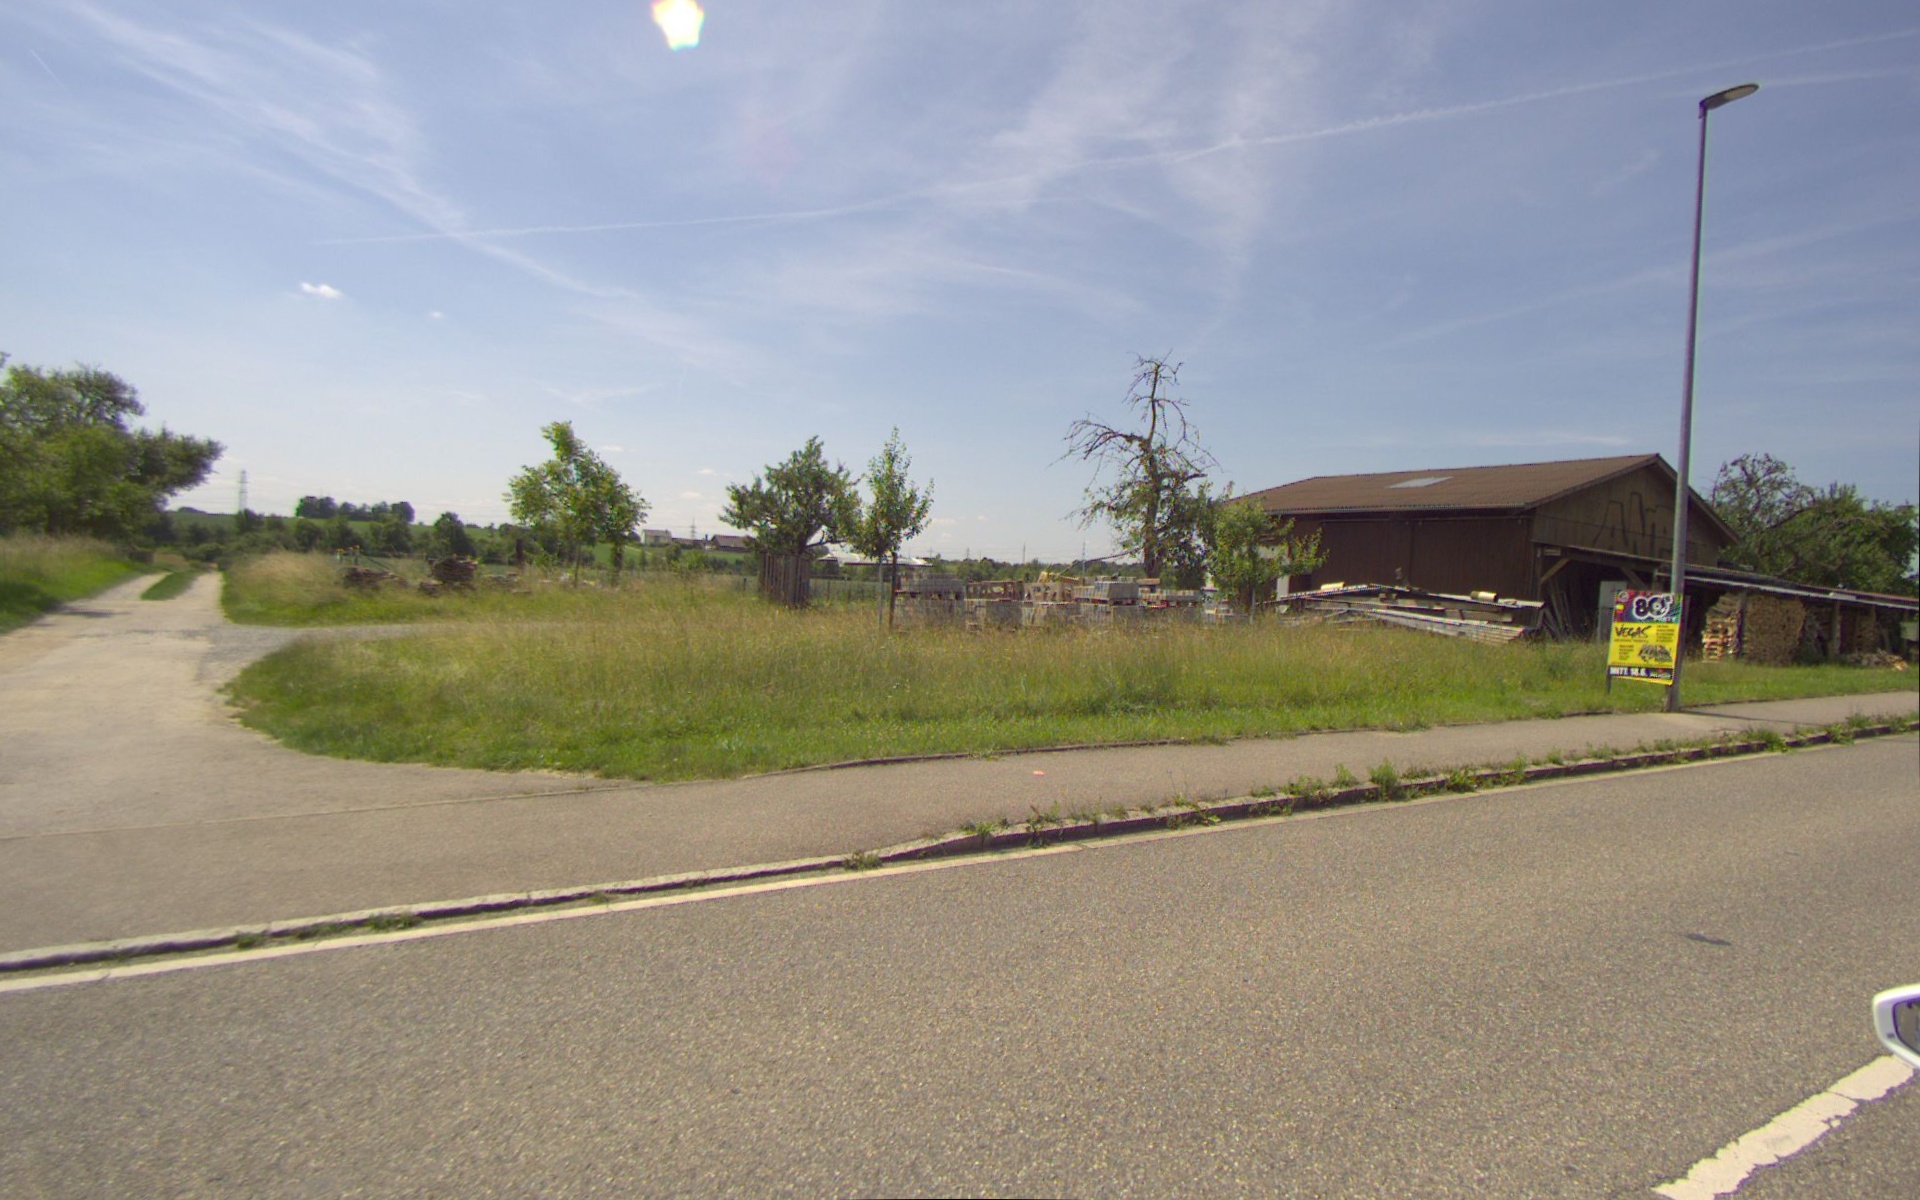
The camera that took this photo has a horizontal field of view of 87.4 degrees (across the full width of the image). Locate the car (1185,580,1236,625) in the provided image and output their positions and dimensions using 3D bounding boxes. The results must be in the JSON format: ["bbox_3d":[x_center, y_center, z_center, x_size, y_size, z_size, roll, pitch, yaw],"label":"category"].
[{"bbox_3d":[9.890,0.034,39.451,1.758,1.539,4.001,4,3,15],"label":"car"}]

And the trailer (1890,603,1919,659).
[{"bbox_3d":[31.930,1.033,32.211,4.980,1.726,2.140,2,0,-36],"label":"trailer"}]
